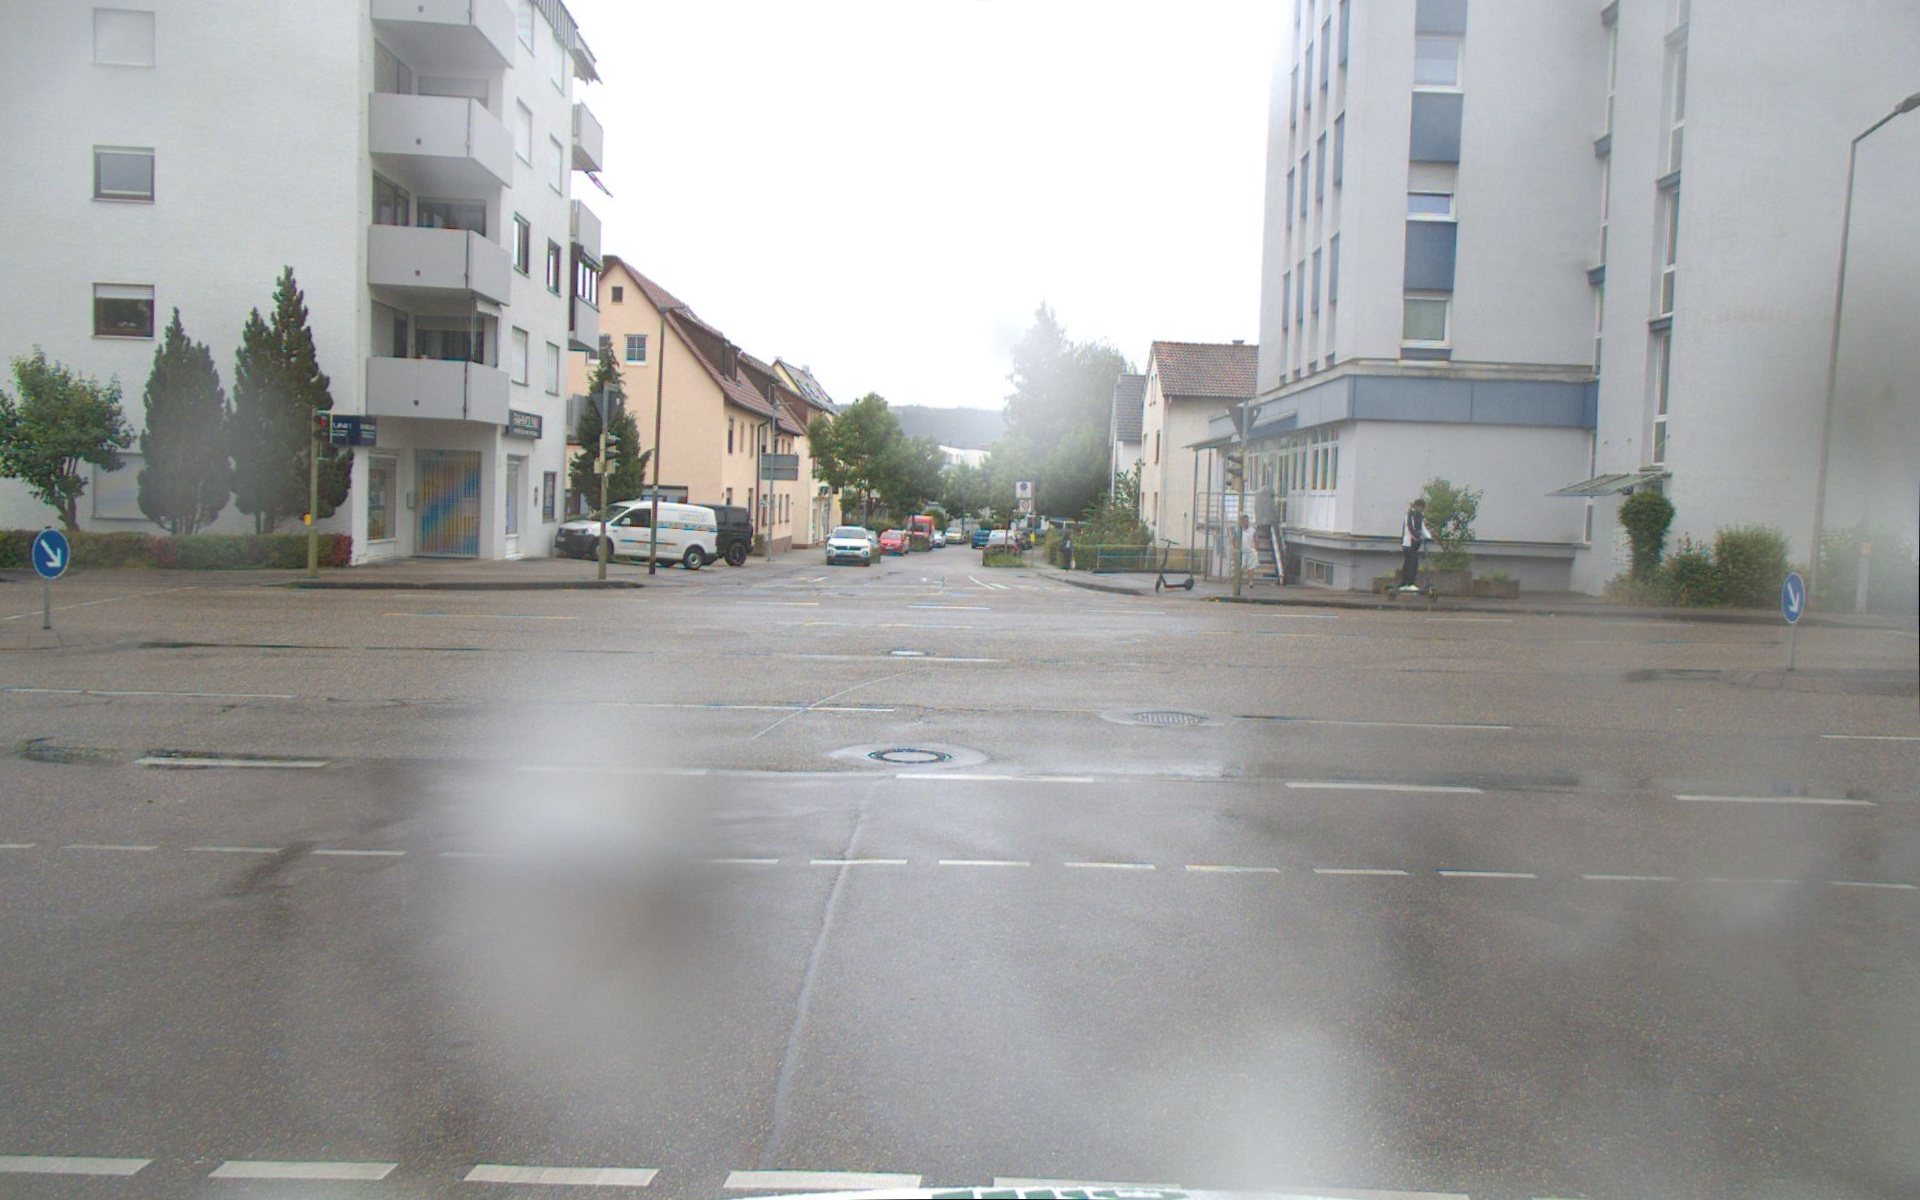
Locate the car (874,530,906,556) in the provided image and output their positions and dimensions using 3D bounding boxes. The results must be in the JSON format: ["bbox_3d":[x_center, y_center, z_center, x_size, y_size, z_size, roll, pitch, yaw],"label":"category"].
[{"bbox_3d":[-4.392,-3.601,104.243,1.862,1.586,4.192,0,2,0],"label":"car"}]

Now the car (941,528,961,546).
[{"bbox_3d":[-0.811,-5.881,154.585,1.862,1.586,4.192,0,2,0],"label":"car"}]

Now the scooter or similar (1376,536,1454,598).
[{"bbox_3d":[8.956,-0.669,32.570,0.752,1.192,1.295,-1,2,-40],"label":"scooter or similar"}]

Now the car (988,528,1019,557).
[{"bbox_3d":[2.693,-3.599,103.667,1.862,1.775,4.192,0,2,0],"label":"car"}]

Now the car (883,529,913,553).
[{"bbox_3d":[-4.237,-4.009,112.731,1.862,1.586,4.192,0,2,0],"label":"car"}]

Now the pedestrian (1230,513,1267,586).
[{"bbox_3d":[6.880,-1.206,39.496,0.635,1.675,0.525,4,1,-7],"label":"pedestrian"}]

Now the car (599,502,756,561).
[{"bbox_3d":[-9.261,-2.222,54.431,4.796,1.867,1.972,-1,2,-39],"label":"car"}]

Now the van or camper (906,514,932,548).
[{"bbox_3d":[-3.132,-5.294,126.684,1.862,2.557,4.239,0,2,0],"label":"van or camper"}]

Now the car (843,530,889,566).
[{"bbox_3d":[-4.474,-2.513,79.335,1.953,1.654,4.192,0,2,0],"label":"car"}]

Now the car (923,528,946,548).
[{"bbox_3d":[-2.149,-5.193,138.576,1.862,1.586,4.192,0,2,0],"label":"car"}]

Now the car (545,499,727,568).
[{"bbox_3d":[-9.261,-1.876,47.447,4.796,1.867,1.972,-1,2,-39],"label":"car"}]

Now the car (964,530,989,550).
[{"bbox_3d":[1.393,-5.043,139.062,1.952,1.713,4.002,1,2,2],"label":"car"}]

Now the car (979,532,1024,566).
[{"bbox_3d":[2.006,-2.529,81.438,2.102,1.616,4.129,0,2,0],"label":"car"}]

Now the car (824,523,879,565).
[{"bbox_3d":[-4.436,-2.296,67.874,1.953,1.654,4.192,0,2,0],"label":"car"}]

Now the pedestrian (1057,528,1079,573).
[{"bbox_3d":[4.582,-2.100,70.134,0.731,1.880,0.525,4,1,-5],"label":"pedestrian"}]

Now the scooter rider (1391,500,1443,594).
[{"bbox_3d":[8.982,-1.037,32.511,0.748,1.827,0.662,-1,2,-42],"label":"scooter rider"}]

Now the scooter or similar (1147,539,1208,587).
[{"bbox_3d":[5.070,-0.861,38.662,1.243,1.100,0.876,0,2,-5],"label":"scooter or similar"}]
